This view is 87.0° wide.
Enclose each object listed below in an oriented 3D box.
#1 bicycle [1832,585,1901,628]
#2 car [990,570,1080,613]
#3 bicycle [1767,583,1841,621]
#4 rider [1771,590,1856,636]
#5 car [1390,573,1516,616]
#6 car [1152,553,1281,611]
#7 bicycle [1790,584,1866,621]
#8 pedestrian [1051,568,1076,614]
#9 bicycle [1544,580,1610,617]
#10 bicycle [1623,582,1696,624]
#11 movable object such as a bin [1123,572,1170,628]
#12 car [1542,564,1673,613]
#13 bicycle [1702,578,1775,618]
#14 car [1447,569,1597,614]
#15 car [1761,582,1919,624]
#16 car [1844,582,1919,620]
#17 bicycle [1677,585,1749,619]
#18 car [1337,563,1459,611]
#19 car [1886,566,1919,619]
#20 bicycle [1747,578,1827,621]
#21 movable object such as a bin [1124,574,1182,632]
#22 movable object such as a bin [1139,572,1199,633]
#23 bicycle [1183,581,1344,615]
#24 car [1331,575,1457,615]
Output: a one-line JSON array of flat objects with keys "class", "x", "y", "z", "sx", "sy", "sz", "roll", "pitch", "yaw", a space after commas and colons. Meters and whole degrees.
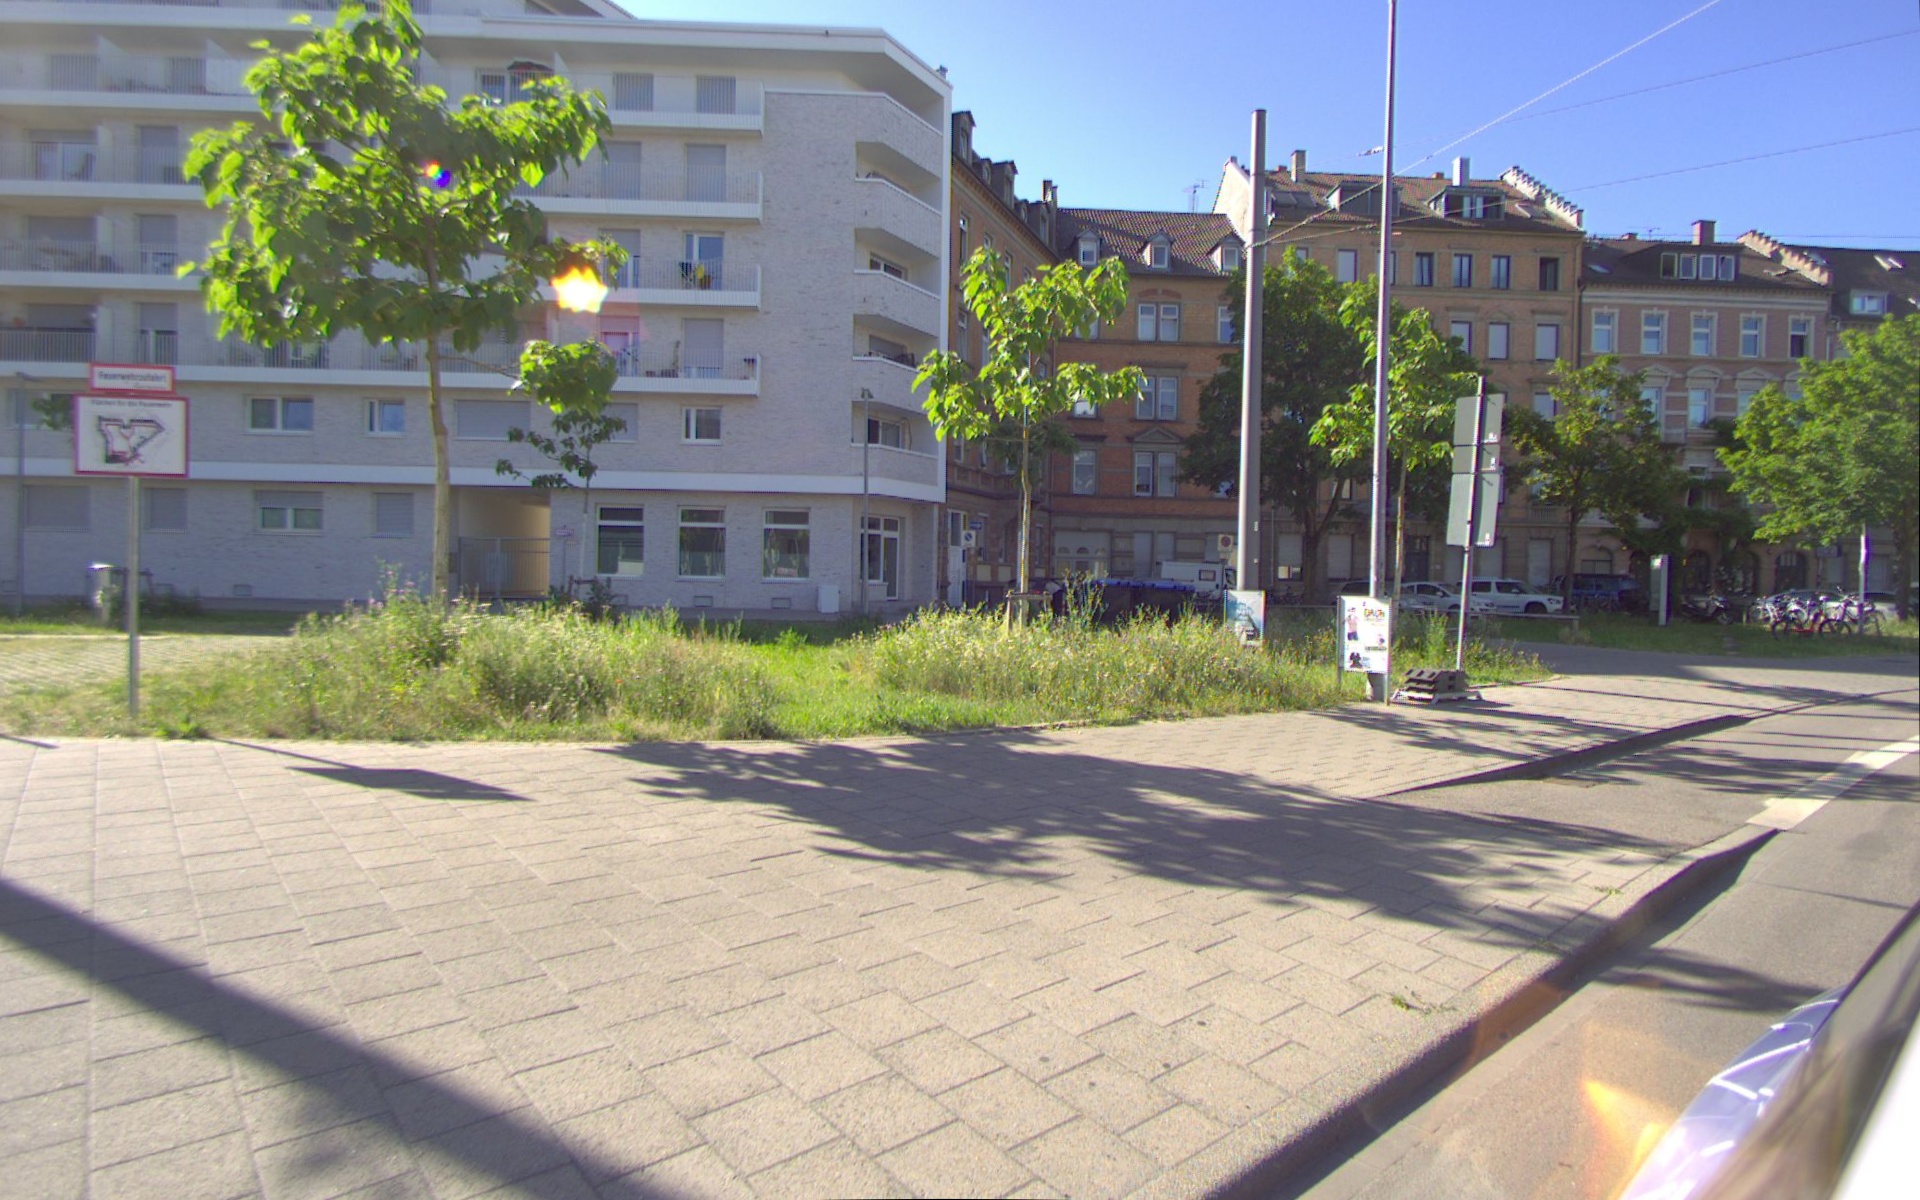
[{"class": "bicycle", "x": 29.933, "y": 0.199, "z": 33.454, "sx": 1.589, "sy": 1.306, "sz": 0.759, "roll": 3, "pitch": 3, "yaw": 38}, {"class": "car", "x": 2.798, "y": -0.338, "z": 36.778, "sx": 1.979, "sy": 1.454, "sz": 4.074, "roll": 1, "pitch": 1, "yaw": 25}, {"class": "bicycle", "x": 29.450, "y": 0.048, "z": 35.339, "sx": 0.825, "sy": 1.206, "sz": 1.966, "roll": 1, "pitch": 3, "yaw": -3}, {"class": "rider", "x": 23.220, "y": 0.345, "z": 27.550, "sx": 1.652, "sy": 1.191, "sz": 0.501, "roll": -2, "pitch": 0, "yaw": 16}, {"class": "car", "x": 18.059, "y": -0.228, "z": 37.219, "sx": 1.726, "sy": 1.459, "sz": 3.846, "roll": 0, "pitch": 1, "yaw": -33}, {"class": "car", "x": 11.439, "y": -0.833, "z": 45.424, "sx": 5.087, "sy": 2.386, "sz": 2.358, "roll": 2, "pitch": 3, "yaw": -1}, {"class": "bicycle", "x": 30.352, "y": 0.056, "z": 35.436, "sx": 0.882, "sy": 1.195, "sz": 1.953, "roll": 0, "pitch": 3, "yaw": -3}, {"class": "pedestrian", "x": 3.649, "y": -0.309, "z": 35.707, "sx": 0.756, "sy": 1.596, "sz": 0.643, "roll": 1, "pitch": 1, "yaw": -2}, {"class": "bicycle", "x": 24.200, "y": -0.079, "z": 39.729, "sx": 0.774, "sy": 1.382, "sz": 2.096, "roll": 0, "pitch": 1, "yaw": -42}, {"class": "bicycle", "x": 24.668, "y": 0.075, "z": 35.740, "sx": 0.771, "sy": 1.416, "sz": 2.104, "roll": 0, "pitch": 1, "yaw": -13}, {"class": "movable object such as a bin", "x": 4.954, "y": -0.015, "z": 26.838, "sx": 1.076, "sy": 1.416, "sz": 1.026, "roll": 1, "pitch": 1, "yaw": 18}, {"class": "car", "x": 29.730, "y": -0.549, "z": 46.578, "sx": 4.632, "sy": 2.001, "sz": 2.002, "roll": 2, "pitch": 3, "yaw": -2}, {"class": "bicycle", "x": 27.798, "y": -0.072, "z": 36.181, "sx": 0.771, "sy": 1.382, "sz": 2.103, "roll": 1, "pitch": 0, "yaw": -8}, {"class": "car", "x": 20.793, "y": -0.349, "z": 37.615, "sx": 1.900, "sy": 1.585, "sz": 4.473, "roll": 0, "pitch": 1, "yaw": -33}, {"class": "car", "x": 33.361, "y": 0.085, "z": 38.015, "sx": 2.007, "sy": 1.397, "sz": 4.753, "roll": 0, "pitch": 1, "yaw": -35}, {"class": "car", "x": 36.177, "y": 0.048, "z": 38.401, "sx": 1.889, "sy": 1.397, "sz": 3.615, "roll": 0, "pitch": 1, "yaw": -35}, {"class": "bicycle", "x": 26.829, "y": 0.053, "z": 36.114, "sx": 0.806, "sy": 1.173, "sz": 2.172, "roll": 0, "pitch": 1, "yaw": -6}, {"class": "car", "x": 19.967, "y": -0.627, "z": 46.286, "sx": 4.632, "sy": 2.001, "sz": 2.002, "roll": 2, "pitch": 3, "yaw": -2}, {"class": "car", "x": 39.059, "y": -0.204, "z": 38.775, "sx": 2.061, "sy": 2.037, "sz": 4.882, "roll": -1, "pitch": 4, "yaw": -36}, {"class": "bicycle", "x": 27.564, "y": -0.053, "z": 33.780, "sx": 0.771, "sy": 1.382, "sz": 2.103, "roll": 1, "pitch": 1, "yaw": -8}, {"class": "movable object such as a bin", "x": 4.883, "y": 0.058, "z": 25.581, "sx": 1.303, "sy": 1.416, "sz": 1.104, "roll": 1, "pitch": 1, "yaw": 18}, {"class": "movable object such as a bin", "x": 5.045, "y": 0.047, "z": 24.361, "sx": 1.286, "sy": 1.416, "sz": 1.066, "roll": 1, "pitch": 1, "yaw": 18}, {"class": "bicycle", "x": 11.334, "y": -0.086, "z": 38.084, "sx": 5.116, "sy": 1.141, "sz": 2.687, "roll": 1, "pitch": 1, "yaw": -7}, {"class": "car", "x": 15.671, "y": -0.214, "z": 36.763, "sx": 1.801, "sy": 1.354, "sz": 4.065, "roll": 1, "pitch": 1, "yaw": -24}]
